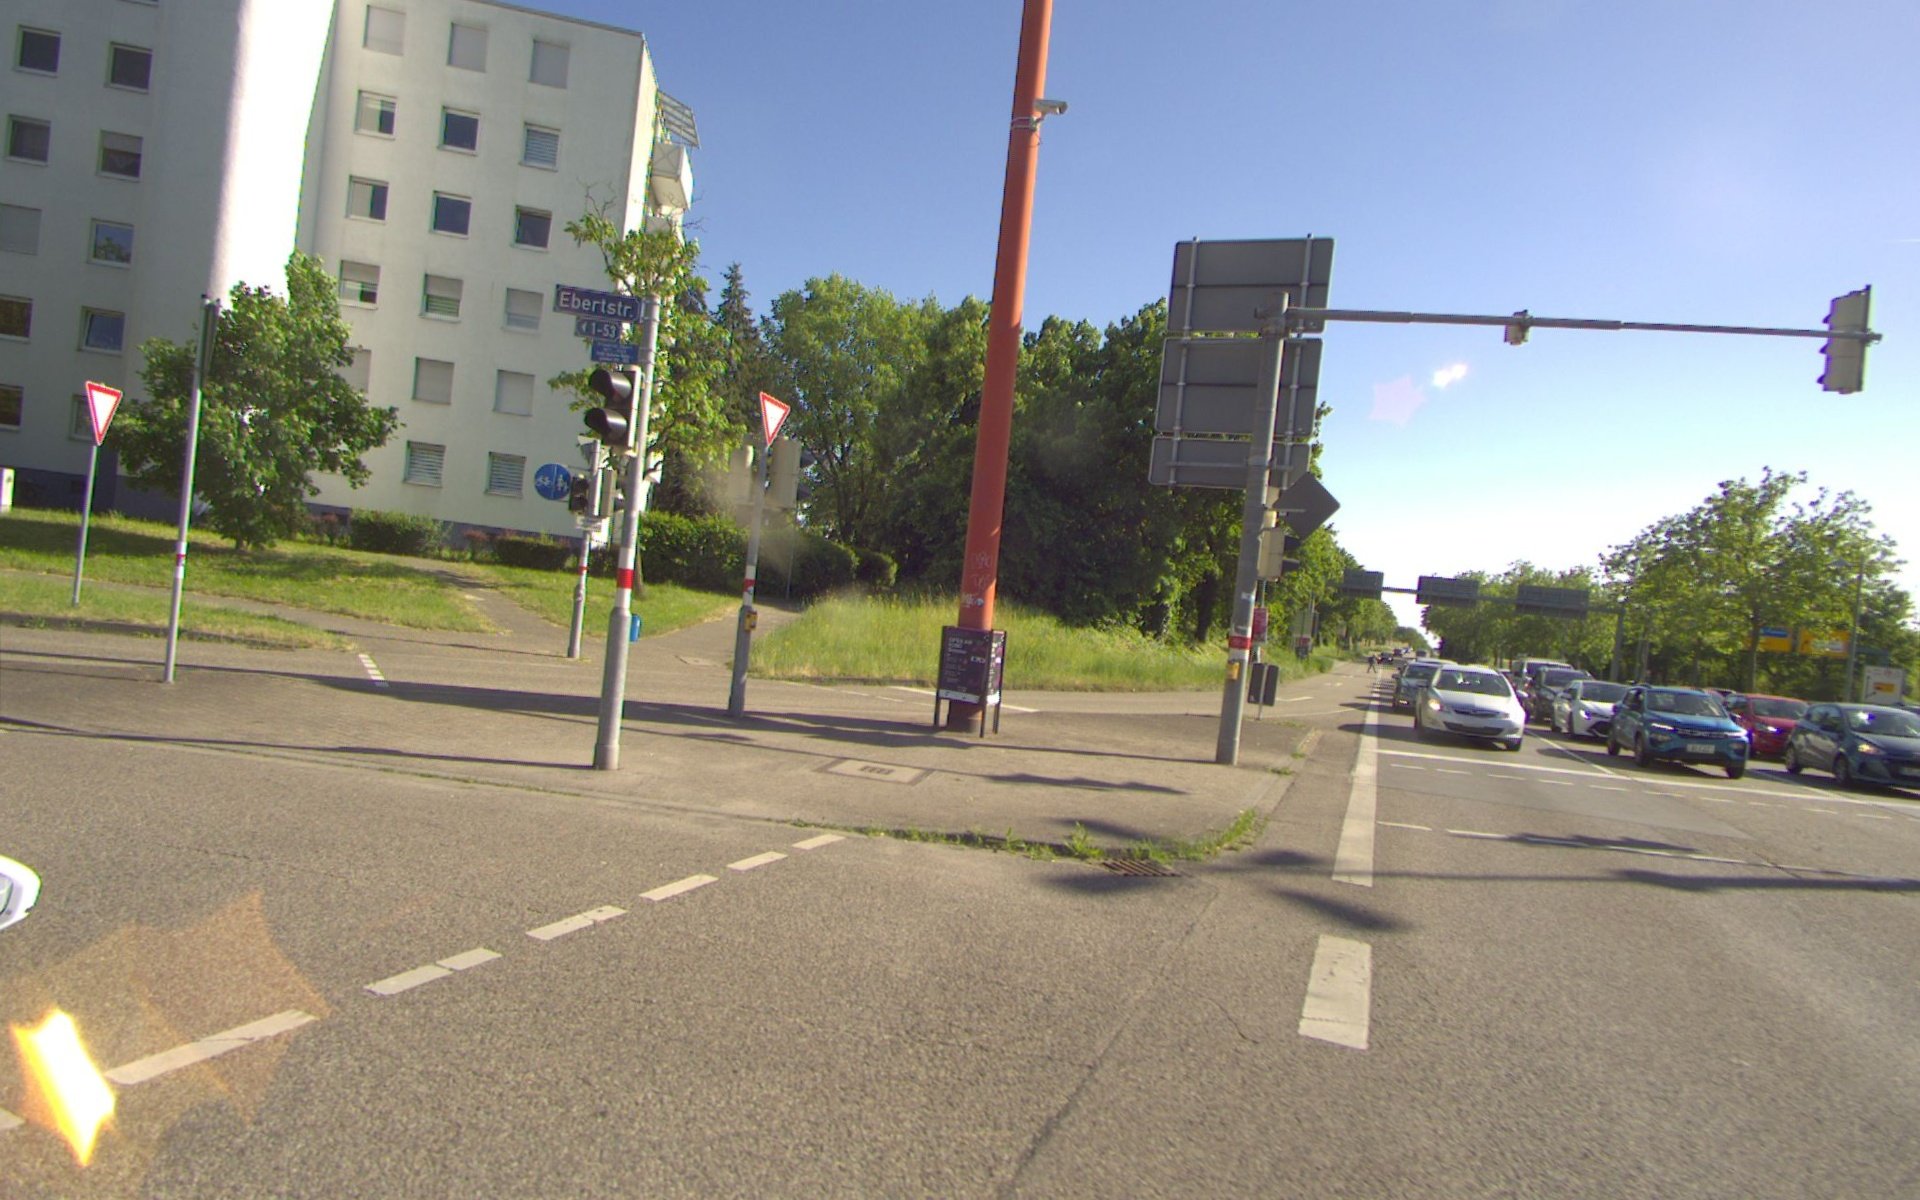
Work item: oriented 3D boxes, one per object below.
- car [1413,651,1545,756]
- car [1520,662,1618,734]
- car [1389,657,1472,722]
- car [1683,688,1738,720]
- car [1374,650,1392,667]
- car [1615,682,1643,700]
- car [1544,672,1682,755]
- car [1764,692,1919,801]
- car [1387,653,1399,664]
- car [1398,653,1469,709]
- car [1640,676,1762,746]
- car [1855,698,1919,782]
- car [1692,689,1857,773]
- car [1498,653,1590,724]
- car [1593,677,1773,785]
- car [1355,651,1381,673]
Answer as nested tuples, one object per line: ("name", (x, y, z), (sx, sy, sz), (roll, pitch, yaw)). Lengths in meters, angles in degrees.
("car", (10.221, 1.978, 20.109), (1.849, 1.672, 4.217), (6, -1, 23))
("car", (18.450, 2.899, 30.659), (1.846, 1.806, 3.998), (6, 0, 23))
("car", (13.455, 2.516, 28.980), (1.857, 1.531, 3.998), (6, -1, 23))
("car", (53.914, 7.435, 72.351), (1.777, 1.843, 4.587), (8, 0, 21))
("car", (55.245, 7.641, 131.564), (1.886, 1.869, 3.959), (7, 0, 22))
("car", (75.310, 10.187, 113.224), (1.690, 1.627, 3.846), (8, 0, 22))
("car", (15.884, 2.695, 24.703), (1.872, 1.574, 4.000), (6, -1, 20))
("car", (17.024, 2.695, 18.831), (1.846, 1.570, 4.025), (5, 0, 22))
("car", (84.382, 11.397, 196.008), (1.886, 1.904, 3.959), (7, 0, 22))
("car", (16.322, 2.792, 34.823), (1.751, 1.671, 3.976), (4, -2, 20))
("car", (22.027, 3.234, 30.092), (1.873, 1.650, 3.998), (7, 0, 23))
("car", (21.280, 3.100, 21.469), (1.766, 1.646, 4.142), (5, -1, 21))
("car", (19.705, 3.112, 24.567), (1.846, 1.571, 4.000), (4, -1, 20))
("car", (21.406, 3.160, 37.066), (1.932, 2.181, 5.080), (7, 0, 21))
("car", (13.499, 2.367, 19.045), (1.774, 1.534, 3.857), (5, -1, 22))
("car", (33.806, 5.144, 83.352), (1.751, 1.671, 3.976), (4, -2, 20))
